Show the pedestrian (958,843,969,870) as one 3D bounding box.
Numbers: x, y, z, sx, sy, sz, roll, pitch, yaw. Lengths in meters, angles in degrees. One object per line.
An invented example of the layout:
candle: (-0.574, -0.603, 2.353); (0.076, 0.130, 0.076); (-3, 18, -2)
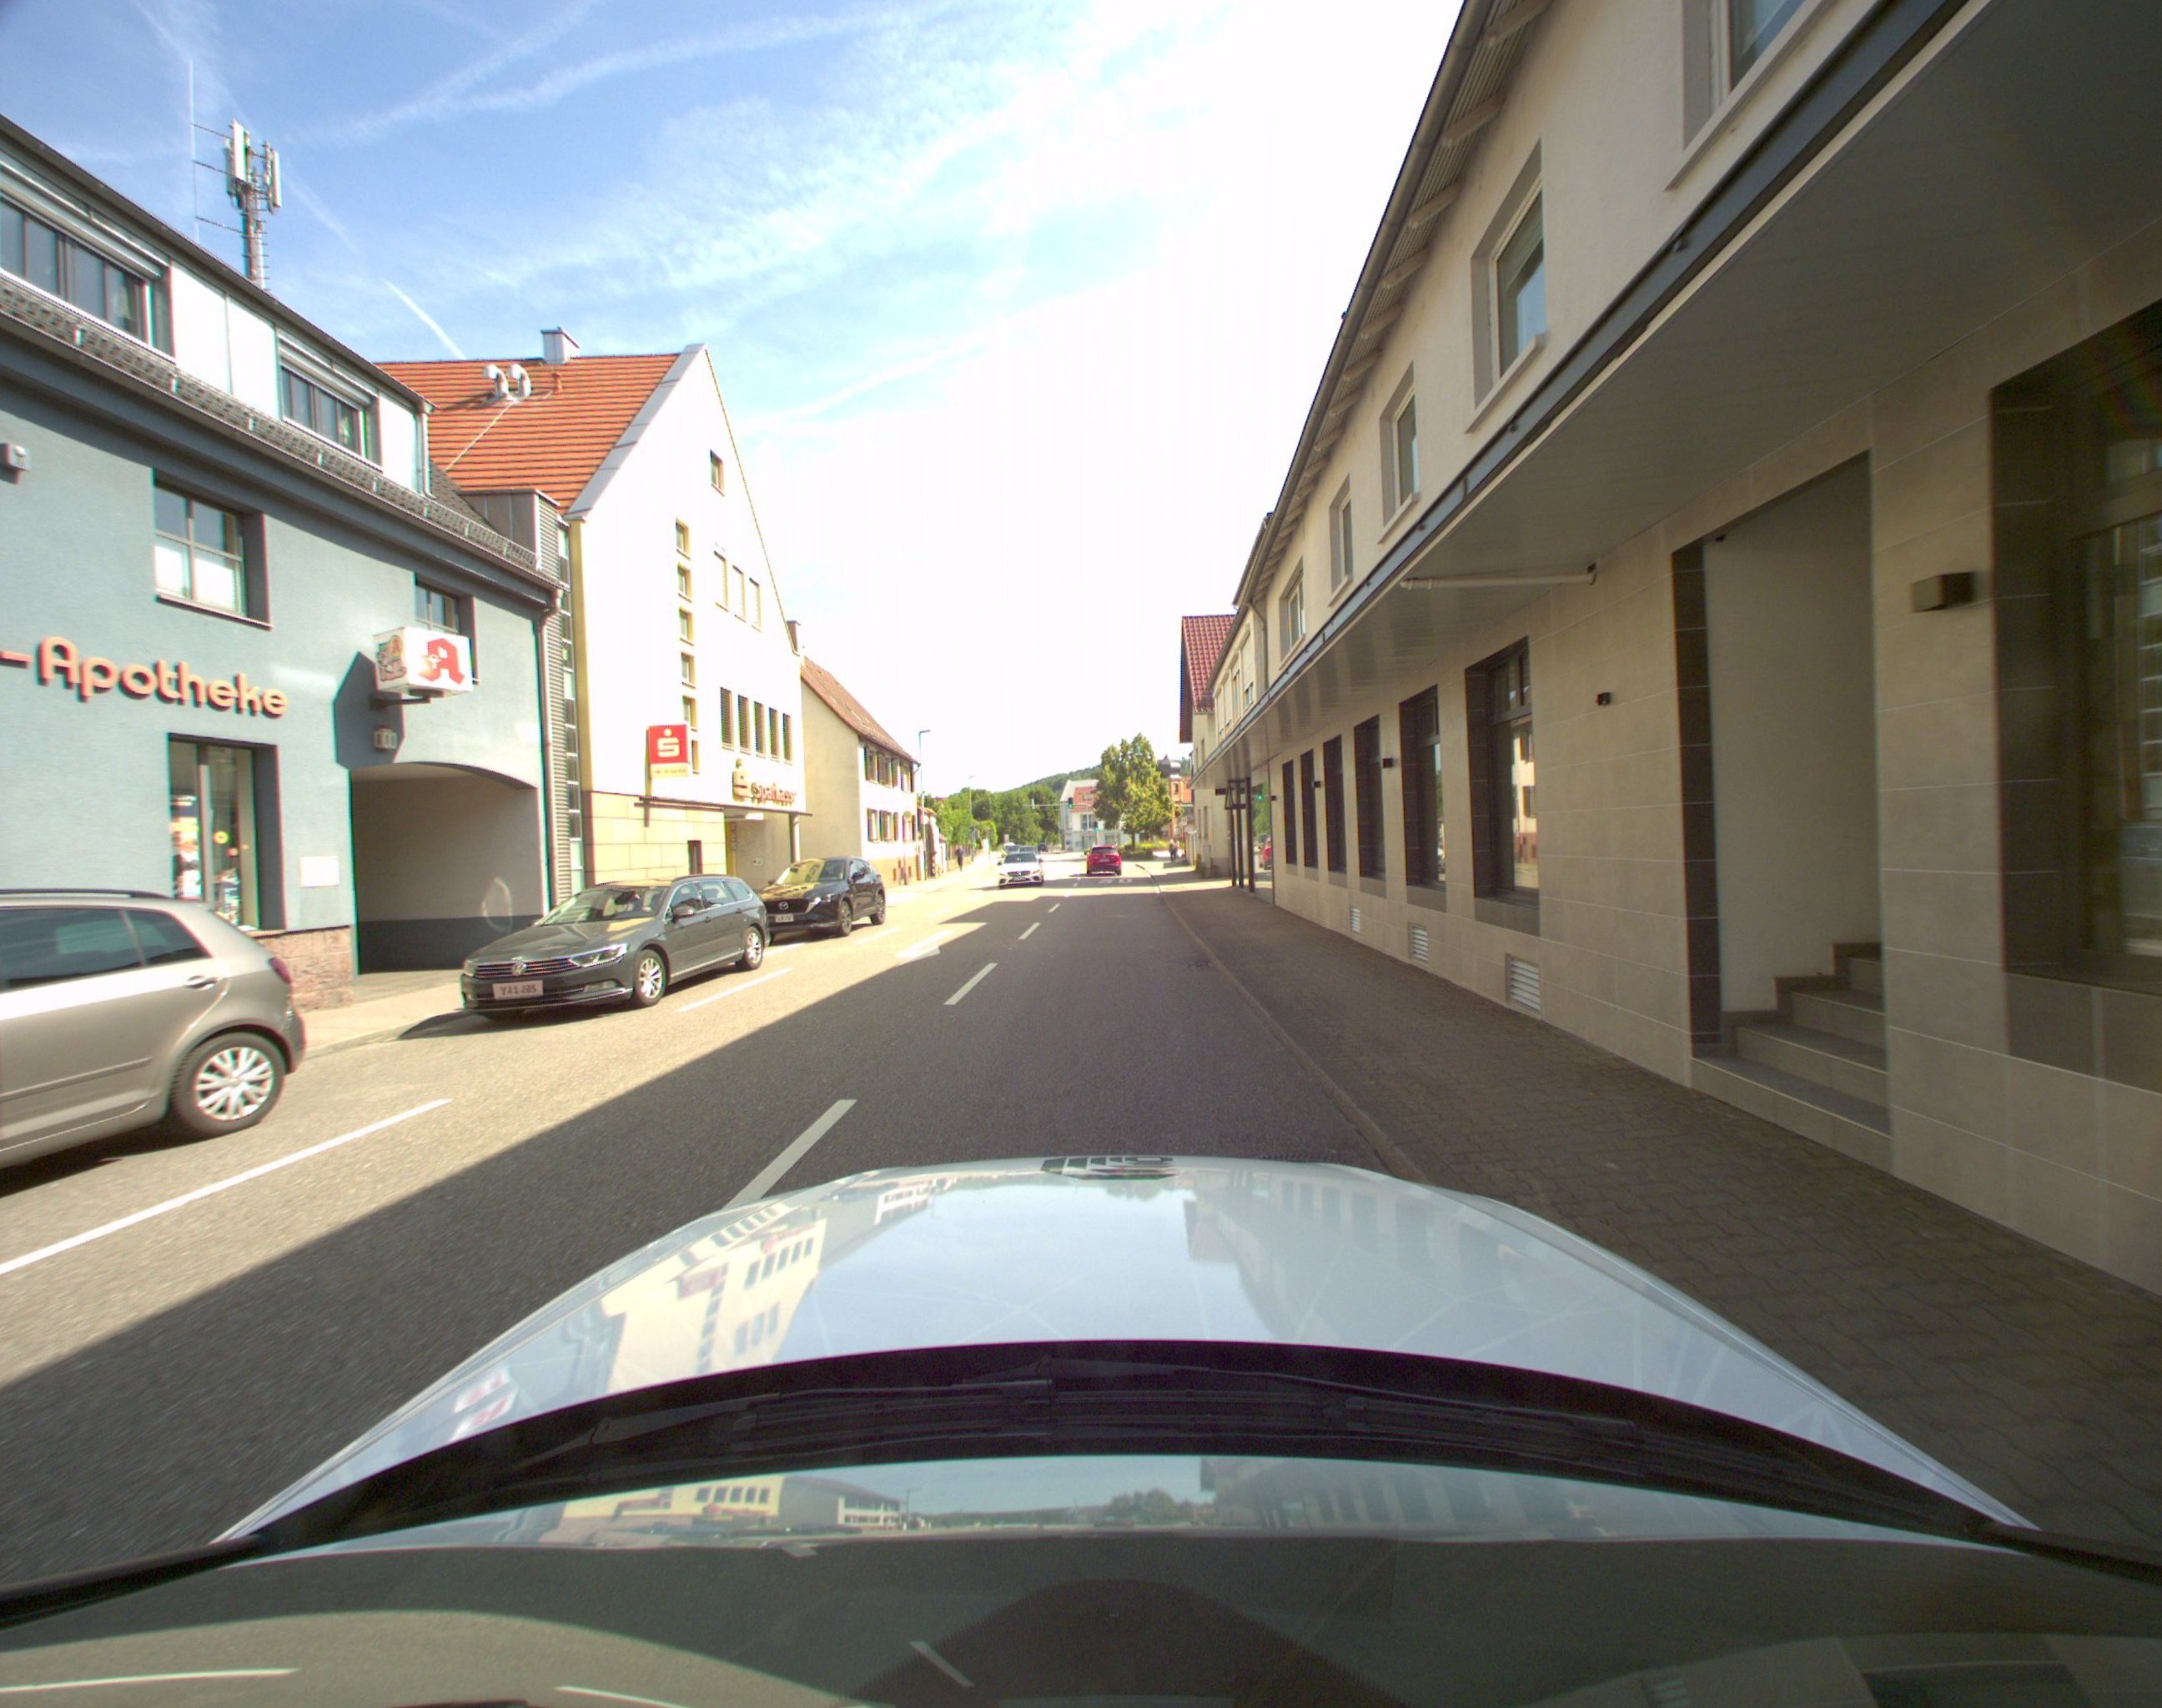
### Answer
pedestrian: (-8.338, 0.177, 57.782); (0.664, 1.824, 0.797); (-3, -2, -4)

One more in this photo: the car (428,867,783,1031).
car: (-5.626, 1.002, 10.453); (1.782, 1.450, 4.425); (-4, 0, 1)

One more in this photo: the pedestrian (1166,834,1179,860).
pedestrian: (6.434, -0.483, 57.201); (0.641, 1.707, 0.699); (-3, -2, -4)

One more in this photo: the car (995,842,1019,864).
car: (-6.751, -0.030, 74.630); (1.769, 1.784, 3.838); (-3, -2, 0)

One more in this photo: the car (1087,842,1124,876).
car: (1.399, 0.230, 44.439); (1.851, 1.714, 4.426); (-2, 0, 3)

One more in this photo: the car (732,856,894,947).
car: (-5.636, 0.911, 17.826); (1.861, 1.589, 4.519); (-4, 0, 1)

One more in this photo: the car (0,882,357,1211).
car: (-6.074, 1.020, 3.810); (1.623, 1.520, 4.020); (-4, 0, 1)

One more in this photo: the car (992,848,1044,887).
car: (-2.638, 0.552, 35.273); (1.983, 1.444, 5.096); (-3, 0, -3)

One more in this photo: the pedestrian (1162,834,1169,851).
pedestrian: (9.243, -1.259, 89.089); (0.641, 1.879, 0.651); (-3, -2, -4)

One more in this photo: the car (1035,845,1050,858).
car: (-6.359, -0.377, 134.168); (1.925, 1.794, 3.958); (-3, -2, 2)
